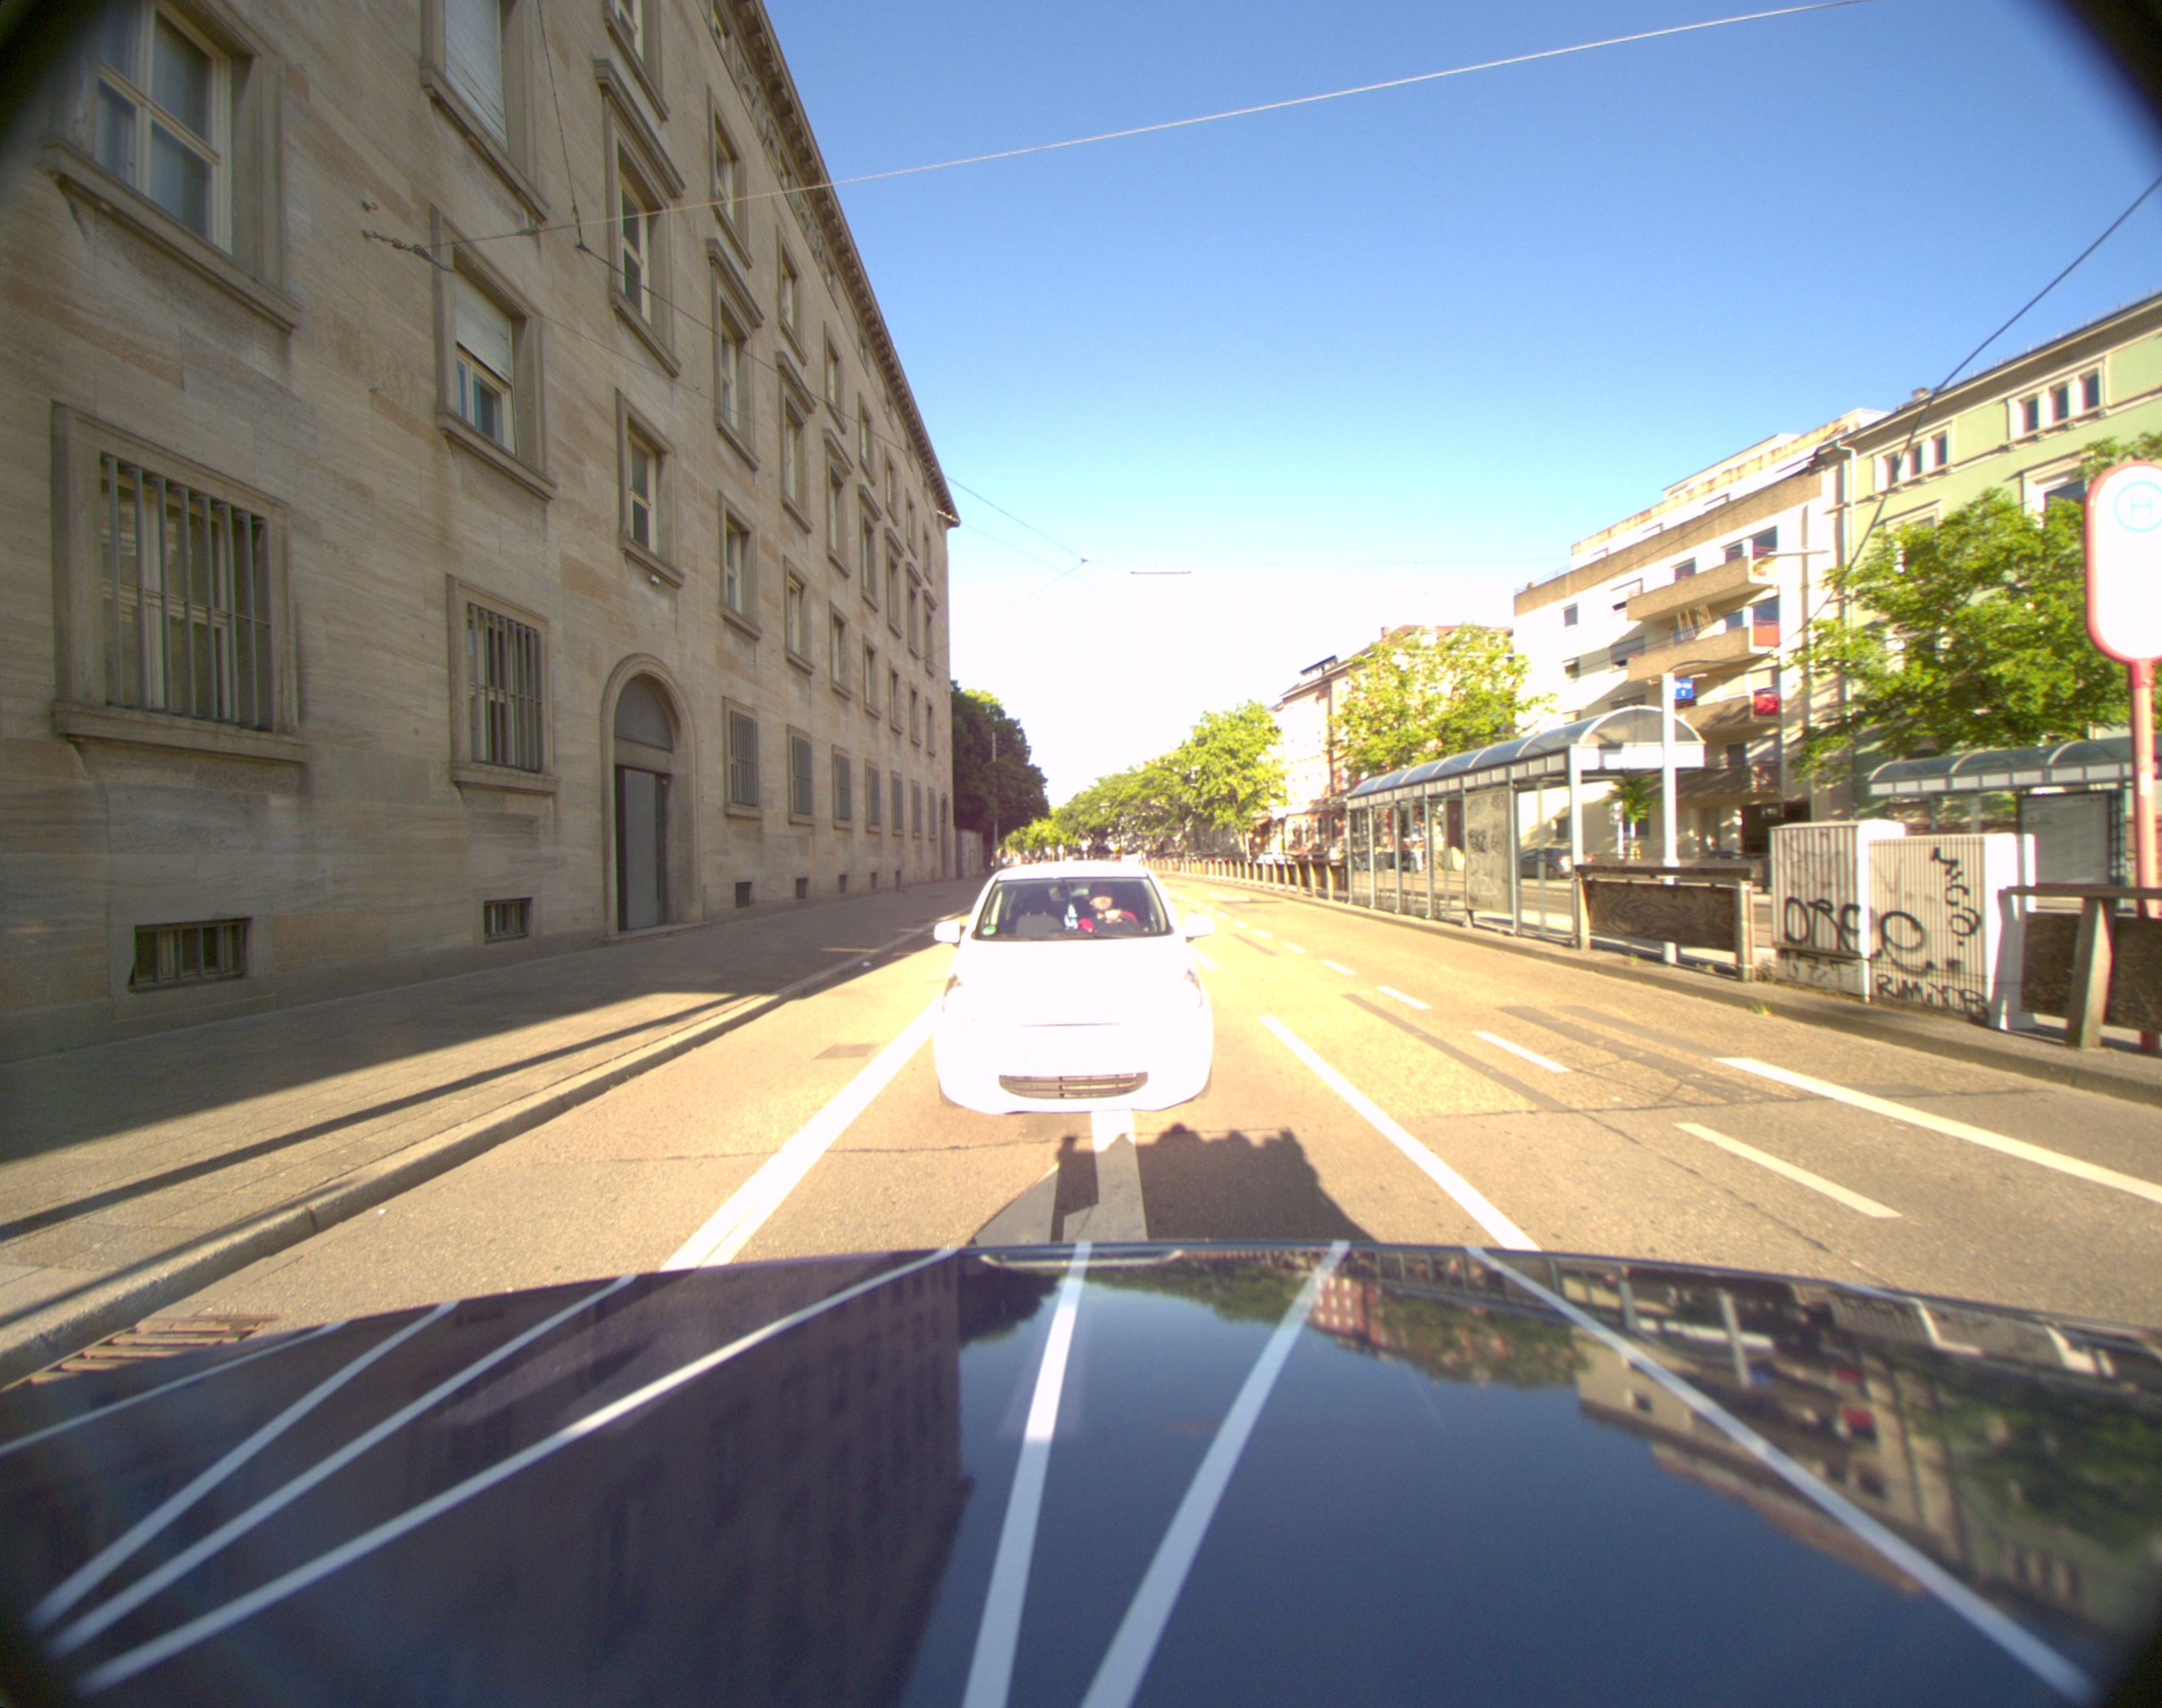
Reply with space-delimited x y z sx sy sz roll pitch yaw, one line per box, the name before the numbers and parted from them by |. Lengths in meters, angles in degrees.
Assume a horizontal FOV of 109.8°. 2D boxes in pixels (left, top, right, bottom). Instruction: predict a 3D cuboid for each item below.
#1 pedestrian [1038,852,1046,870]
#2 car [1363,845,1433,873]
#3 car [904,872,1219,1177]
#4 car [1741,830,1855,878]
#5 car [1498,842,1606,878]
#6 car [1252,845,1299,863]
pedestrian | -3.685 0.680 72.506 0.686 1.673 0.928 -1 1 -6
car | 18.395 0.275 44.301 2.000 1.521 3.997 -1 0 -8
car | -0.078 0.938 5.777 1.606 1.455 3.621 -1 0 1
car | 31.925 -0.013 33.866 4.001 2.002 1.798 -1 1 -13
car | 20.939 0.245 34.016 2.000 1.521 3.997 1 0 -8
car | 16.212 0.004 63.232 3.648 1.342 1.578 -2 1 -29
